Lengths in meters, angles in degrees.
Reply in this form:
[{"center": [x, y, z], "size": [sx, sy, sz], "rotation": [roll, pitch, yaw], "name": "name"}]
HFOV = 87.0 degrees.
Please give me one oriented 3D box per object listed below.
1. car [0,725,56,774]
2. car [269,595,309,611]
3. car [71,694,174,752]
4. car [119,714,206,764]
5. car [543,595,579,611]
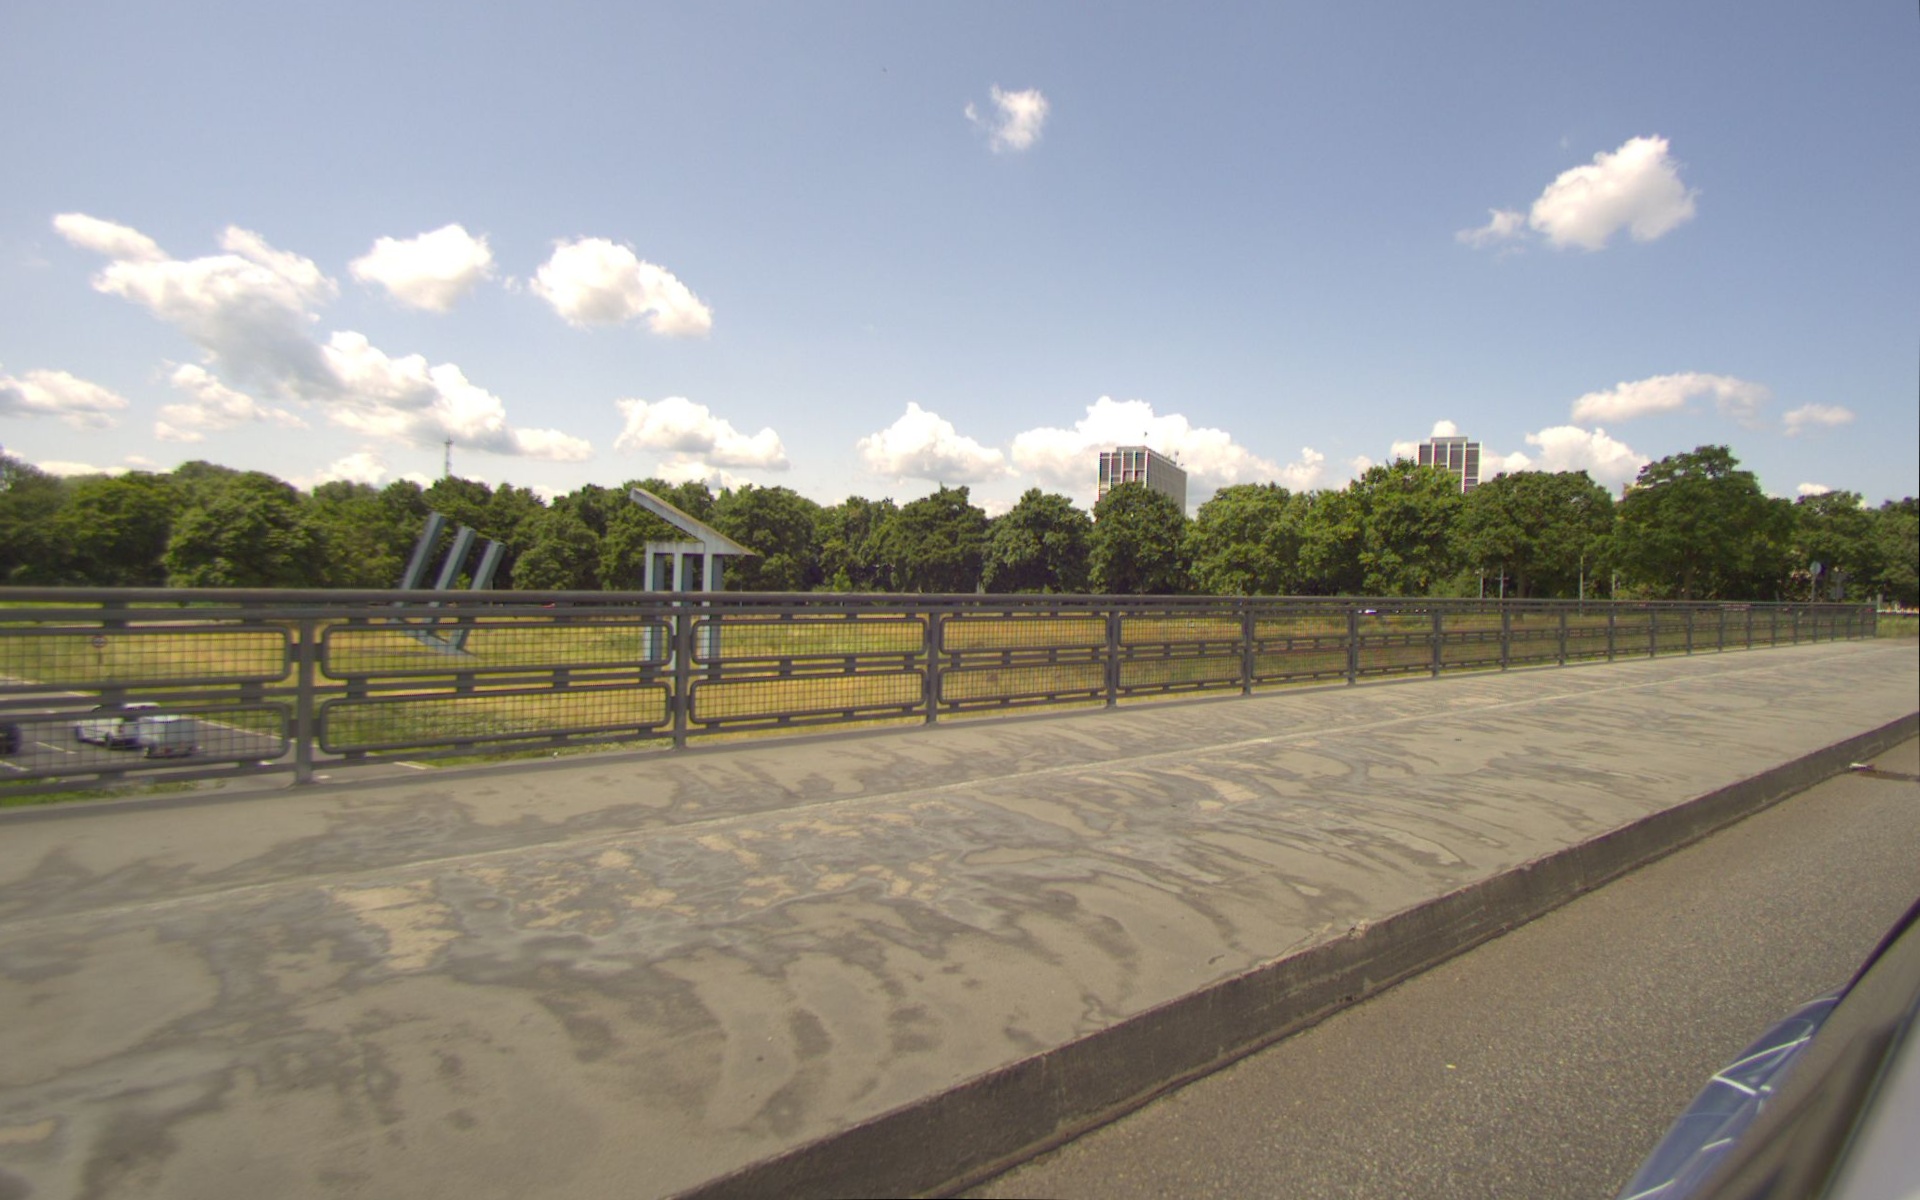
[{"center": [-35.730, 5.566, 37.701], "size": [3.967, 1.304, 1.978], "rotation": [1, -1, 31], "name": "car"}, {"center": [-82.885, 0.359, 125.079], "size": [3.918, 1.906, 2.003], "rotation": [1, -1, -28], "name": "car"}, {"center": [-34.055, 4.951, 41.142], "size": [3.967, 1.861, 1.978], "rotation": [1, -1, 31], "name": "car"}, {"center": [-31.011, 5.360, 39.339], "size": [3.121, 1.490, 1.644], "rotation": [1, -1, 31], "name": "car"}, {"center": [-53.372, 0.447, 135.416], "size": [3.926, 2.039, 1.999], "rotation": [1, -1, 2], "name": "car"}]
